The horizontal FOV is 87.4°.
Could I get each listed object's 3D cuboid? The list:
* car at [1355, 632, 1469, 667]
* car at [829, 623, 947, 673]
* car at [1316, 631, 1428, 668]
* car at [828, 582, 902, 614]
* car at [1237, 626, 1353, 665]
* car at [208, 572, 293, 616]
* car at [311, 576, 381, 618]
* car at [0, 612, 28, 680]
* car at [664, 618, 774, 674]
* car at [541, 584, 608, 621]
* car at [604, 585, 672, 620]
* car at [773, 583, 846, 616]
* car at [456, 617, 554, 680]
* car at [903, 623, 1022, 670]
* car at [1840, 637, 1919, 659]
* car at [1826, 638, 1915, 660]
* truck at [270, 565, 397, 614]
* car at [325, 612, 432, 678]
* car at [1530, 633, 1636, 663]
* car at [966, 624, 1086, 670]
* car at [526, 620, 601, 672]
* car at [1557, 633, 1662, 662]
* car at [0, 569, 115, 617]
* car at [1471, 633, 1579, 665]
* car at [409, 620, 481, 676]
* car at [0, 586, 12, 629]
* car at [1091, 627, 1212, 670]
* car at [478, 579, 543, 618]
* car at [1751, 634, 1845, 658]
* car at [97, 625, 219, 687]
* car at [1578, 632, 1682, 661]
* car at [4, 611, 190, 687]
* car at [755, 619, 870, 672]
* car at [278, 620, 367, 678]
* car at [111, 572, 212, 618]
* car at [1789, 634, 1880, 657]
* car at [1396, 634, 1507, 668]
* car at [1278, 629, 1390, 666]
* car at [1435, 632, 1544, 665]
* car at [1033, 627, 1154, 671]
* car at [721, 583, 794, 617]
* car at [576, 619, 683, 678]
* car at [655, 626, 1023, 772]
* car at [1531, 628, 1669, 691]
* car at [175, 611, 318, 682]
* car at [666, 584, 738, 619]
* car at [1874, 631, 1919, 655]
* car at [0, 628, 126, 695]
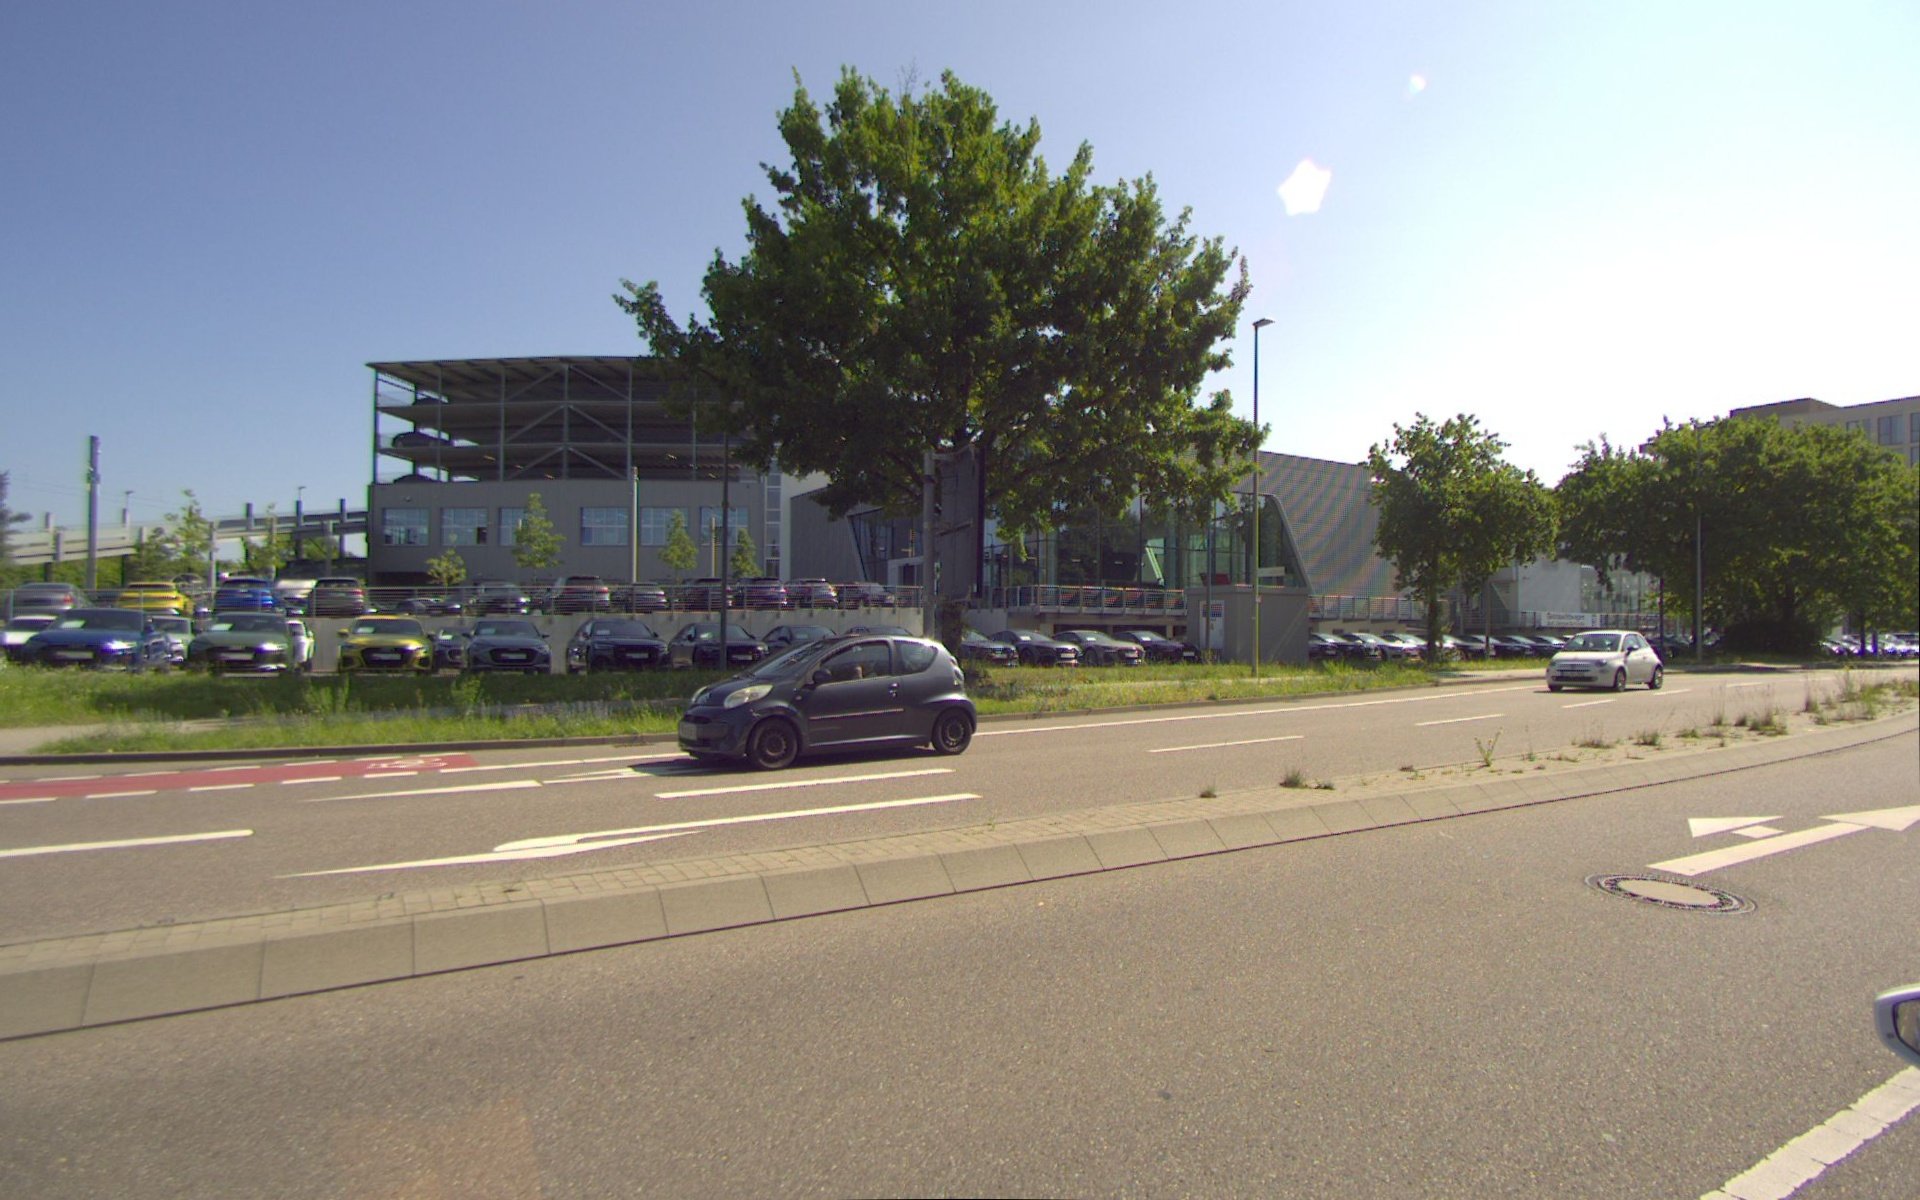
[{"bbox_3d":[19.002,2.053,42.399,2.001,1.394,4.023,1,-2,-30],"label":"car"},{"bbox_3d":[-2.189,1.363,29.507,1.929,1.368,4.250,1,-2,-28],"label":"car"},{"bbox_3d":[16.746,1.988,40.994,1.843,1.394,3.969,1,-2,-30],"label":"car"},{"bbox_3d":[-4.539,-0.059,47.389,1.930,1.368,4.248,1,-2,-29],"label":"car"},{"bbox_3d":[12.766,1.714,38.502,1.976,1.394,3.969,1,-2,-30],"label":"car"},{"bbox_3d":[-24.527,-0.156,34.878,1.930,1.368,4.248,1,-2,-29],"label":"car"},{"bbox_3d":[-22.065,-0.046,36.225,1.930,1.368,4.248,1,-2,-29],"label":"car"},{"bbox_3d":[-19.756,0.888,19.078,1.929,1.368,4.250,1,-2,-28],"label":"car"},{"bbox_3d":[-6.590,1.201,27.166,1.929,1.368,4.250,1,-2,-28],"label":"car"},{"bbox_3d":[-15.413,0.151,40.055,1.930,1.368,4.248,1,-2,-29],"label":"car"},{"bbox_3d":[-13.549,0.153,42.108,1.930,1.368,4.248,1,-2,-29],"label":"car"},{"bbox_3d":[-6.919,-0.005,45.931,1.930,1.368,4.248,1,-2,-29],"label":"car"},{"bbox_3d":[-11.137,1.133,24.447,1.929,1.368,4.250,1,-2,-28],"label":"car"},{"bbox_3d":[-0.010,1.399,31.117,1.929,1.368,4.250,1,-2,-28],"label":"car"},{"bbox_3d":[62.353,3.223,67.881,1.977,1.361,3.967,1,-2,-31],"label":"car"},{"bbox_3d":[60.353,3.202,66.620,1.977,1.361,3.967,1,-2,-31],"label":"car"},{"bbox_3d":[-42.198,-0.599,68.092,2.612,2.955,8.469,0,-2,5],"label":"truck"},{"bbox_3d":[-13.251,0.997,23.116,1.929,1.368,4.250,1,-2,-28],"label":"car"},{"bbox_3d":[30.149,2.294,48.704,1.901,1.394,3.969,1,-2,-30],"label":"car"},{"bbox_3d":[2.039,1.460,32.282,1.929,1.368,4.250,1,-2,-28],"label":"car"},{"bbox_3d":[-13.527,1.520,34.144,1.929,1.664,4.250,1,-2,-28],"label":"car"},{"bbox_3d":[32.105,2.328,49.763,1.901,1.394,3.969,1,-2,-30],"label":"car"},{"bbox_3d":[-28.593,-0.166,31.870,1.930,1.368,4.248,1,-2,-29],"label":"car"},{"bbox_3d":[25.963,2.207,46.259,1.901,1.394,3.969,1,-2,-30],"label":"car"},{"bbox_3d":[-16.709,1.508,32.606,1.929,1.664,4.250,1,-2,-28],"label":"car"},{"bbox_3d":[-30.907,0.199,30.576,1.930,1.368,4.248,1,-2,-29],"label":"car"},{"bbox_3d":[6.558,1.645,34.903,1.929,1.368,4.250,1,-2,-28],"label":"car"},{"bbox_3d":[-17.428,0.004,38.845,1.930,1.368,4.248,1,-2,-29],"label":"car"},{"bbox_3d":[50.962,2.790,61.137,1.977,1.361,3.967,1,-2,-31],"label":"car"},{"bbox_3d":[-23.013,1.551,29.010,1.929,1.664,4.250,1,-2,-28],"label":"car"},{"bbox_3d":[33.868,2.315,50.837,1.901,1.394,3.969,1,-2,-30],"label":"car"},{"bbox_3d":[-17.434,0.954,20.535,1.929,1.368,4.250,1,-2,-28],"label":"car"},{"bbox_3d":[-4.247,1.255,28.345,1.929,1.368,4.250,1,-2,-28],"label":"car"},{"bbox_3d":[-19.579,1.464,31.025,1.929,1.664,4.250,1,-2,-28],"label":"car"},{"bbox_3d":[-26.588,-0.120,33.577,1.930,1.368,4.248,1,-2,-29],"label":"car"},{"bbox_3d":[55.441,2.882,63.711,1.978,1.361,3.965,1,-2,-32],"label":"car"},{"bbox_3d":[21.261,2.182,43.622,1.901,1.394,3.969,1,-2,-30],"label":"car"},{"bbox_3d":[14.785,1.851,39.907,1.843,1.394,3.969,1,-2,-30],"label":"car"},{"bbox_3d":[23.608,2.127,44.915,1.901,1.394,3.969,1,-2,-30],"label":"car"},{"bbox_3d":[4.370,1.605,33.584,1.929,1.368,4.250,1,-2,-28],"label":"car"},{"bbox_3d":[-8.924,0.040,44.011,1.930,1.368,4.248,1,-2,-29],"label":"car"},{"bbox_3d":[-8.536,1.200,25.722,1.929,1.368,4.250,1,-2,-28],"label":"car"},{"bbox_3d":[-1.339,1.066,11.796,3.963,1.433,1.771,2,-4,-37],"label":"car"},{"bbox_3d":[16.232,1.482,25.454,3.513,1.483,1.644,1,-3,-33],"label":"car"},{"bbox_3d":[-15.271,0.958,21.738,1.929,1.368,4.250,1,-2,-28],"label":"car"},{"bbox_3d":[-11.056,0.093,42.862,1.931,1.368,4.247,1,-2,-30],"label":"car"},{"bbox_3d":[81.750,3.682,85.945,1.976,2.077,4.894,1,-2,-29],"label":"car"},{"bbox_3d":[-24.618,1.621,27.424,1.929,1.664,4.250,1,-2,-28],"label":"car"}]
